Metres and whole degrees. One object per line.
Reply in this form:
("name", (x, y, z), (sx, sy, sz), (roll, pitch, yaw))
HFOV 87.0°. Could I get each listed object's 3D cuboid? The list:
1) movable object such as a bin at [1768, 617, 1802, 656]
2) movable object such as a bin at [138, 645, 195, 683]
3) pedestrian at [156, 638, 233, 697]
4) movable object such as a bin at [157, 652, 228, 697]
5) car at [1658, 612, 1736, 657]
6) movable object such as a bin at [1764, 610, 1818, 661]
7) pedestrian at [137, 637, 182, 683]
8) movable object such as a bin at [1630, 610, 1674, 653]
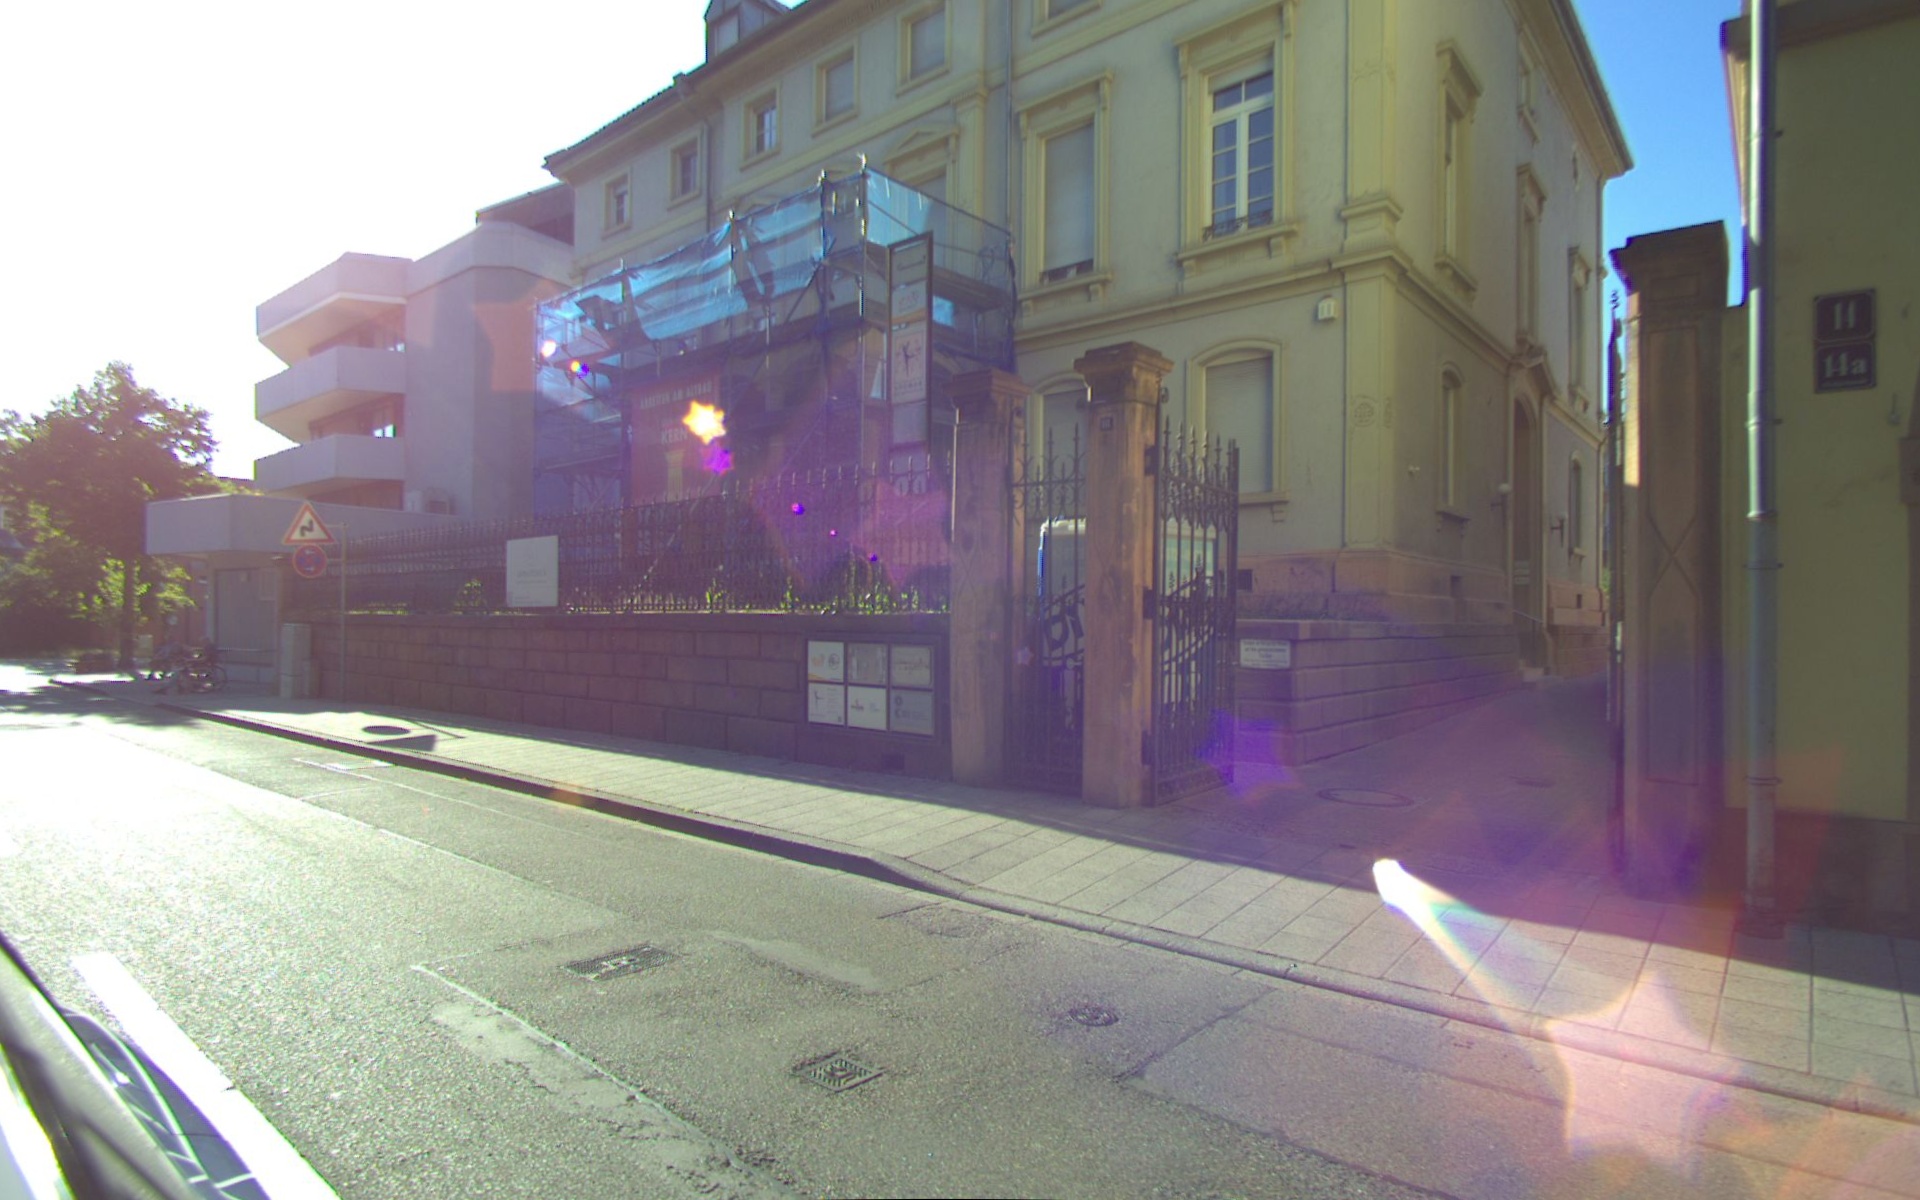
("movable object such as a bin", (33.761, 1.497, 41.436), (1.008, 1.545, 0.824), (-2, -2, 38))
("movable object such as a bin", (-21.711, 1.743, 27.701), (0.838, 0.935, 1.026), (-1, 0, 34))
("pedestrian", (-17.307, 1.510, 22.909), (1.139, 1.238, 0.843), (-1, 0, -14))
("movable object such as a bin", (-17.313, 1.673, 22.857), (1.020, 0.935, 0.843), (-1, 0, -14))
("car", (24.246, 1.123, 33.248), (1.819, 1.384, 3.947), (-2, -2, 39))
("movable object such as a bin", (23.699, 1.017, 28.893), (1.093, 1.404, 1.034), (-1, -2, 37))
("pedestrian", (-21.815, 1.614, 27.566), (0.838, 1.194, 0.734), (-1, 0, 34))
("movable object such as a bin", (25.181, 1.147, 36.829), (1.270, 1.545, 0.824), (-1, -2, 38))
